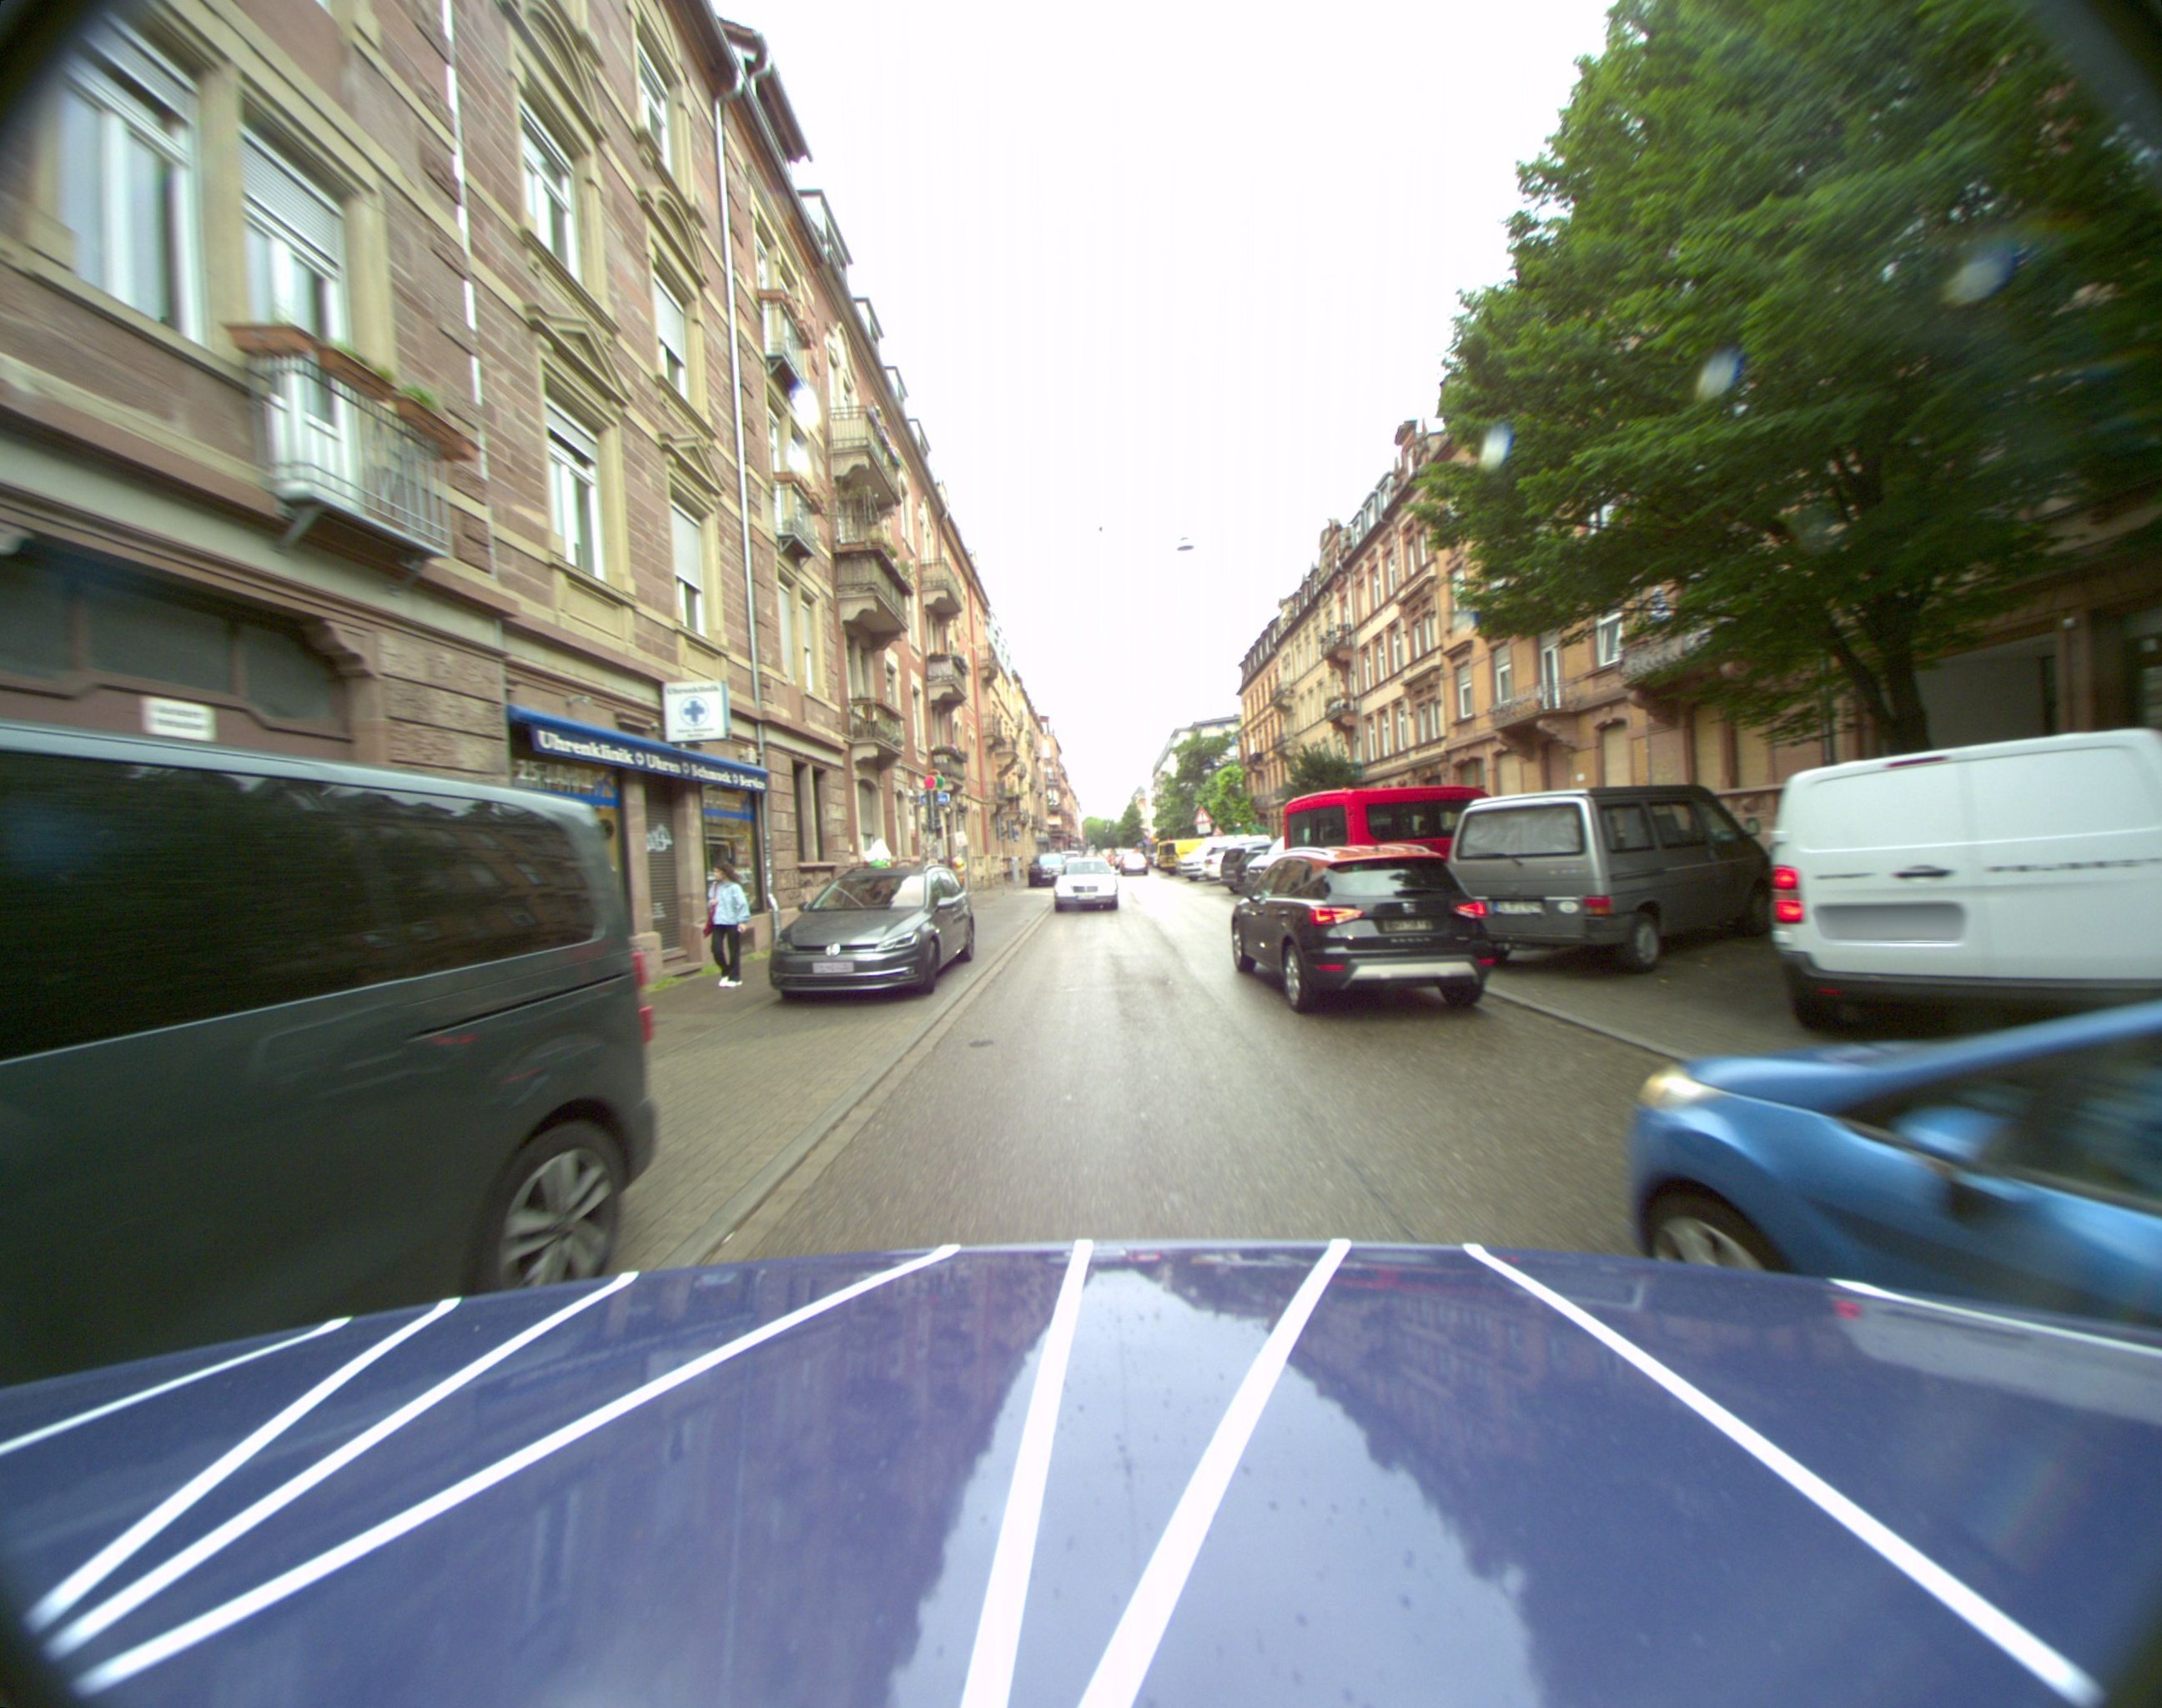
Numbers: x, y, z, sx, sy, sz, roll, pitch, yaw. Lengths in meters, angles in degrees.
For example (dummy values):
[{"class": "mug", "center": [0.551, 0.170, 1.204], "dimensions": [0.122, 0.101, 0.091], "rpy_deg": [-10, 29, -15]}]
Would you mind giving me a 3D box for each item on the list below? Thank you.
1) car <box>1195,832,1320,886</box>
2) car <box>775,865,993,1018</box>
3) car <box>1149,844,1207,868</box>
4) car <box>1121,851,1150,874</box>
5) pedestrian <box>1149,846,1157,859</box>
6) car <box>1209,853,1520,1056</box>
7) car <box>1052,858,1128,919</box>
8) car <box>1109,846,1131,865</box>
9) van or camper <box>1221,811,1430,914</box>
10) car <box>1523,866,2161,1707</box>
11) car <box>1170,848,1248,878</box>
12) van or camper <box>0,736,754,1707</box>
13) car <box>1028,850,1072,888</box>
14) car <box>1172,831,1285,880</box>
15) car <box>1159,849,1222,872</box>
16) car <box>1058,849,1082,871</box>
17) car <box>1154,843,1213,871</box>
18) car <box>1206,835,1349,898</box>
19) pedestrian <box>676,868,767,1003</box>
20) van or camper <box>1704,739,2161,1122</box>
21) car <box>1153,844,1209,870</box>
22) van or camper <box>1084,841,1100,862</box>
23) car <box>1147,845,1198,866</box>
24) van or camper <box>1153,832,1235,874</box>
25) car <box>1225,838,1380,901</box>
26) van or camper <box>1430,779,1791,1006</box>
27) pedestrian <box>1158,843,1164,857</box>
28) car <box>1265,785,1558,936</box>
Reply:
[{"class": "car", "center": [7.417, 0.192, 32.384], "dimensions": [4.590, 1.775, 2.545], "rpy_deg": [-6, 0, 1]}, {"class": "car", "center": [-2.428, 1.008, 10.472], "dimensions": [1.845, 1.536, 4.003], "rpy_deg": [-3, 1, 1]}, {"class": "car", "center": [8.556, 0.167, 66.691], "dimensions": [4.731, 1.554, 1.996], "rpy_deg": [-6, 0, -32]}, {"class": "car", "center": [3.819, 0.605, 54.272], "dimensions": [1.800, 1.485, 4.584], "rpy_deg": [-4, -1, 2]}, {"class": "pedestrian", "center": [9.943, -0.225, 105.307], "dimensions": [0.862, 1.837, 0.770], "rpy_deg": [-4, 0, 10]}, {"class": "car", "center": [2.664, 0.813, 8.221], "dimensions": [1.674, 1.550, 4.002], "rpy_deg": [-3, 1, -2]}, {"class": "car", "center": [0.327, 0.889, 21.863], "dimensions": [1.859, 1.390, 4.980], "rpy_deg": [-3, 1, 2]}, {"class": "car", "center": [3.661, 0.149, 71.442], "dimensions": [1.863, 1.650, 5.008], "rpy_deg": [-3, 0, 2]}, {"class": "van or camper", "center": [6.665, 0.187, 20.749], "dimensions": [5.031, 2.335, 2.340], "rpy_deg": [-4, 0, -24]}, {"class": "car", "center": [2.371, 0.825, 0.626], "dimensions": [1.674, 1.457, 4.003], "rpy_deg": [-3, 1, 1]}, {"class": "car", "center": [7.299, 0.493, 43.219], "dimensions": [4.005, 1.427, 1.781], "rpy_deg": [-4, 1, -27]}, {"class": "van or camper", "center": [-2.631, 0.797, 1.030], "dimensions": [2.026, 1.880, 5.055], "rpy_deg": [-2, 0, 1]}, {"class": "car", "center": [-1.560, 0.727, 39.884], "dimensions": [1.998, 1.769, 4.826], "rpy_deg": [-3, 1, 1]}, {"class": "car", "center": [7.370, 0.054, 37.824], "dimensions": [5.258, 2.066, 1.867], "rpy_deg": [-4, 1, -23]}, {"class": "car", "center": [7.586, 0.449, 52.390], "dimensions": [4.006, 1.486, 1.823], "rpy_deg": [-2, 0, -30]}, {"class": "car", "center": [-1.005, 0.503, 69.759], "dimensions": [1.999, 1.928, 5.229], "rpy_deg": [-2, 1, -1]}, {"class": "car", "center": [7.836, 0.226, 57.893], "dimensions": [4.143, 1.653, 1.797], "rpy_deg": [-7, 3, -34]}, {"class": "car", "center": [6.780, 0.418, 26.176], "dimensions": [4.449, 1.621, 1.841], "rpy_deg": [-6, 1, -24]}, {"class": "pedestrian", "center": [-4.528, 1.001, 9.624], "dimensions": [0.680, 1.604, 0.810], "rpy_deg": [-2, 1, 2]}, {"class": "van or camper", "center": [6.870, 0.271, 5.783], "dimensions": [4.705, 1.941, 2.332], "rpy_deg": [-5, 0, -40]}, {"class": "car", "center": [8.045, 0.248, 61.051], "dimensions": [4.143, 1.652, 1.797], "rpy_deg": [-7, 2, -34]}, {"class": "van or camper", "center": [1.917, -0.388, 132.442], "dimensions": [2.411, 3.308, 7.073], "rpy_deg": [-4, 0, 0]}, {"class": "car", "center": [8.650, 0.103, 71.510], "dimensions": [4.464, 1.555, 1.995], "rpy_deg": [-6, 3, -34]}, {"class": "van or camper", "center": [7.309, -0.077, 49.161], "dimensions": [4.732, 2.254, 2.180], "rpy_deg": [-6, 0, -31]}, {"class": "car", "center": [6.914, 0.469, 23.720], "dimensions": [4.360, 1.496, 1.752], "rpy_deg": [-5, 0, -21]}, {"class": "van or camper", "center": [6.410, 0.285, 9.054], "dimensions": [4.454, 1.964, 1.777], "rpy_deg": [-6, 2, -31]}, {"class": "pedestrian", "center": [10.911, -0.519, 103.972], "dimensions": [0.604, 1.837, 0.770], "rpy_deg": [-4, 0, 10]}, {"class": "car", "center": [6.767, 0.040, 15.464], "dimensions": [5.579, 2.526, 2.225], "rpy_deg": [-4, 0, -26]}]
